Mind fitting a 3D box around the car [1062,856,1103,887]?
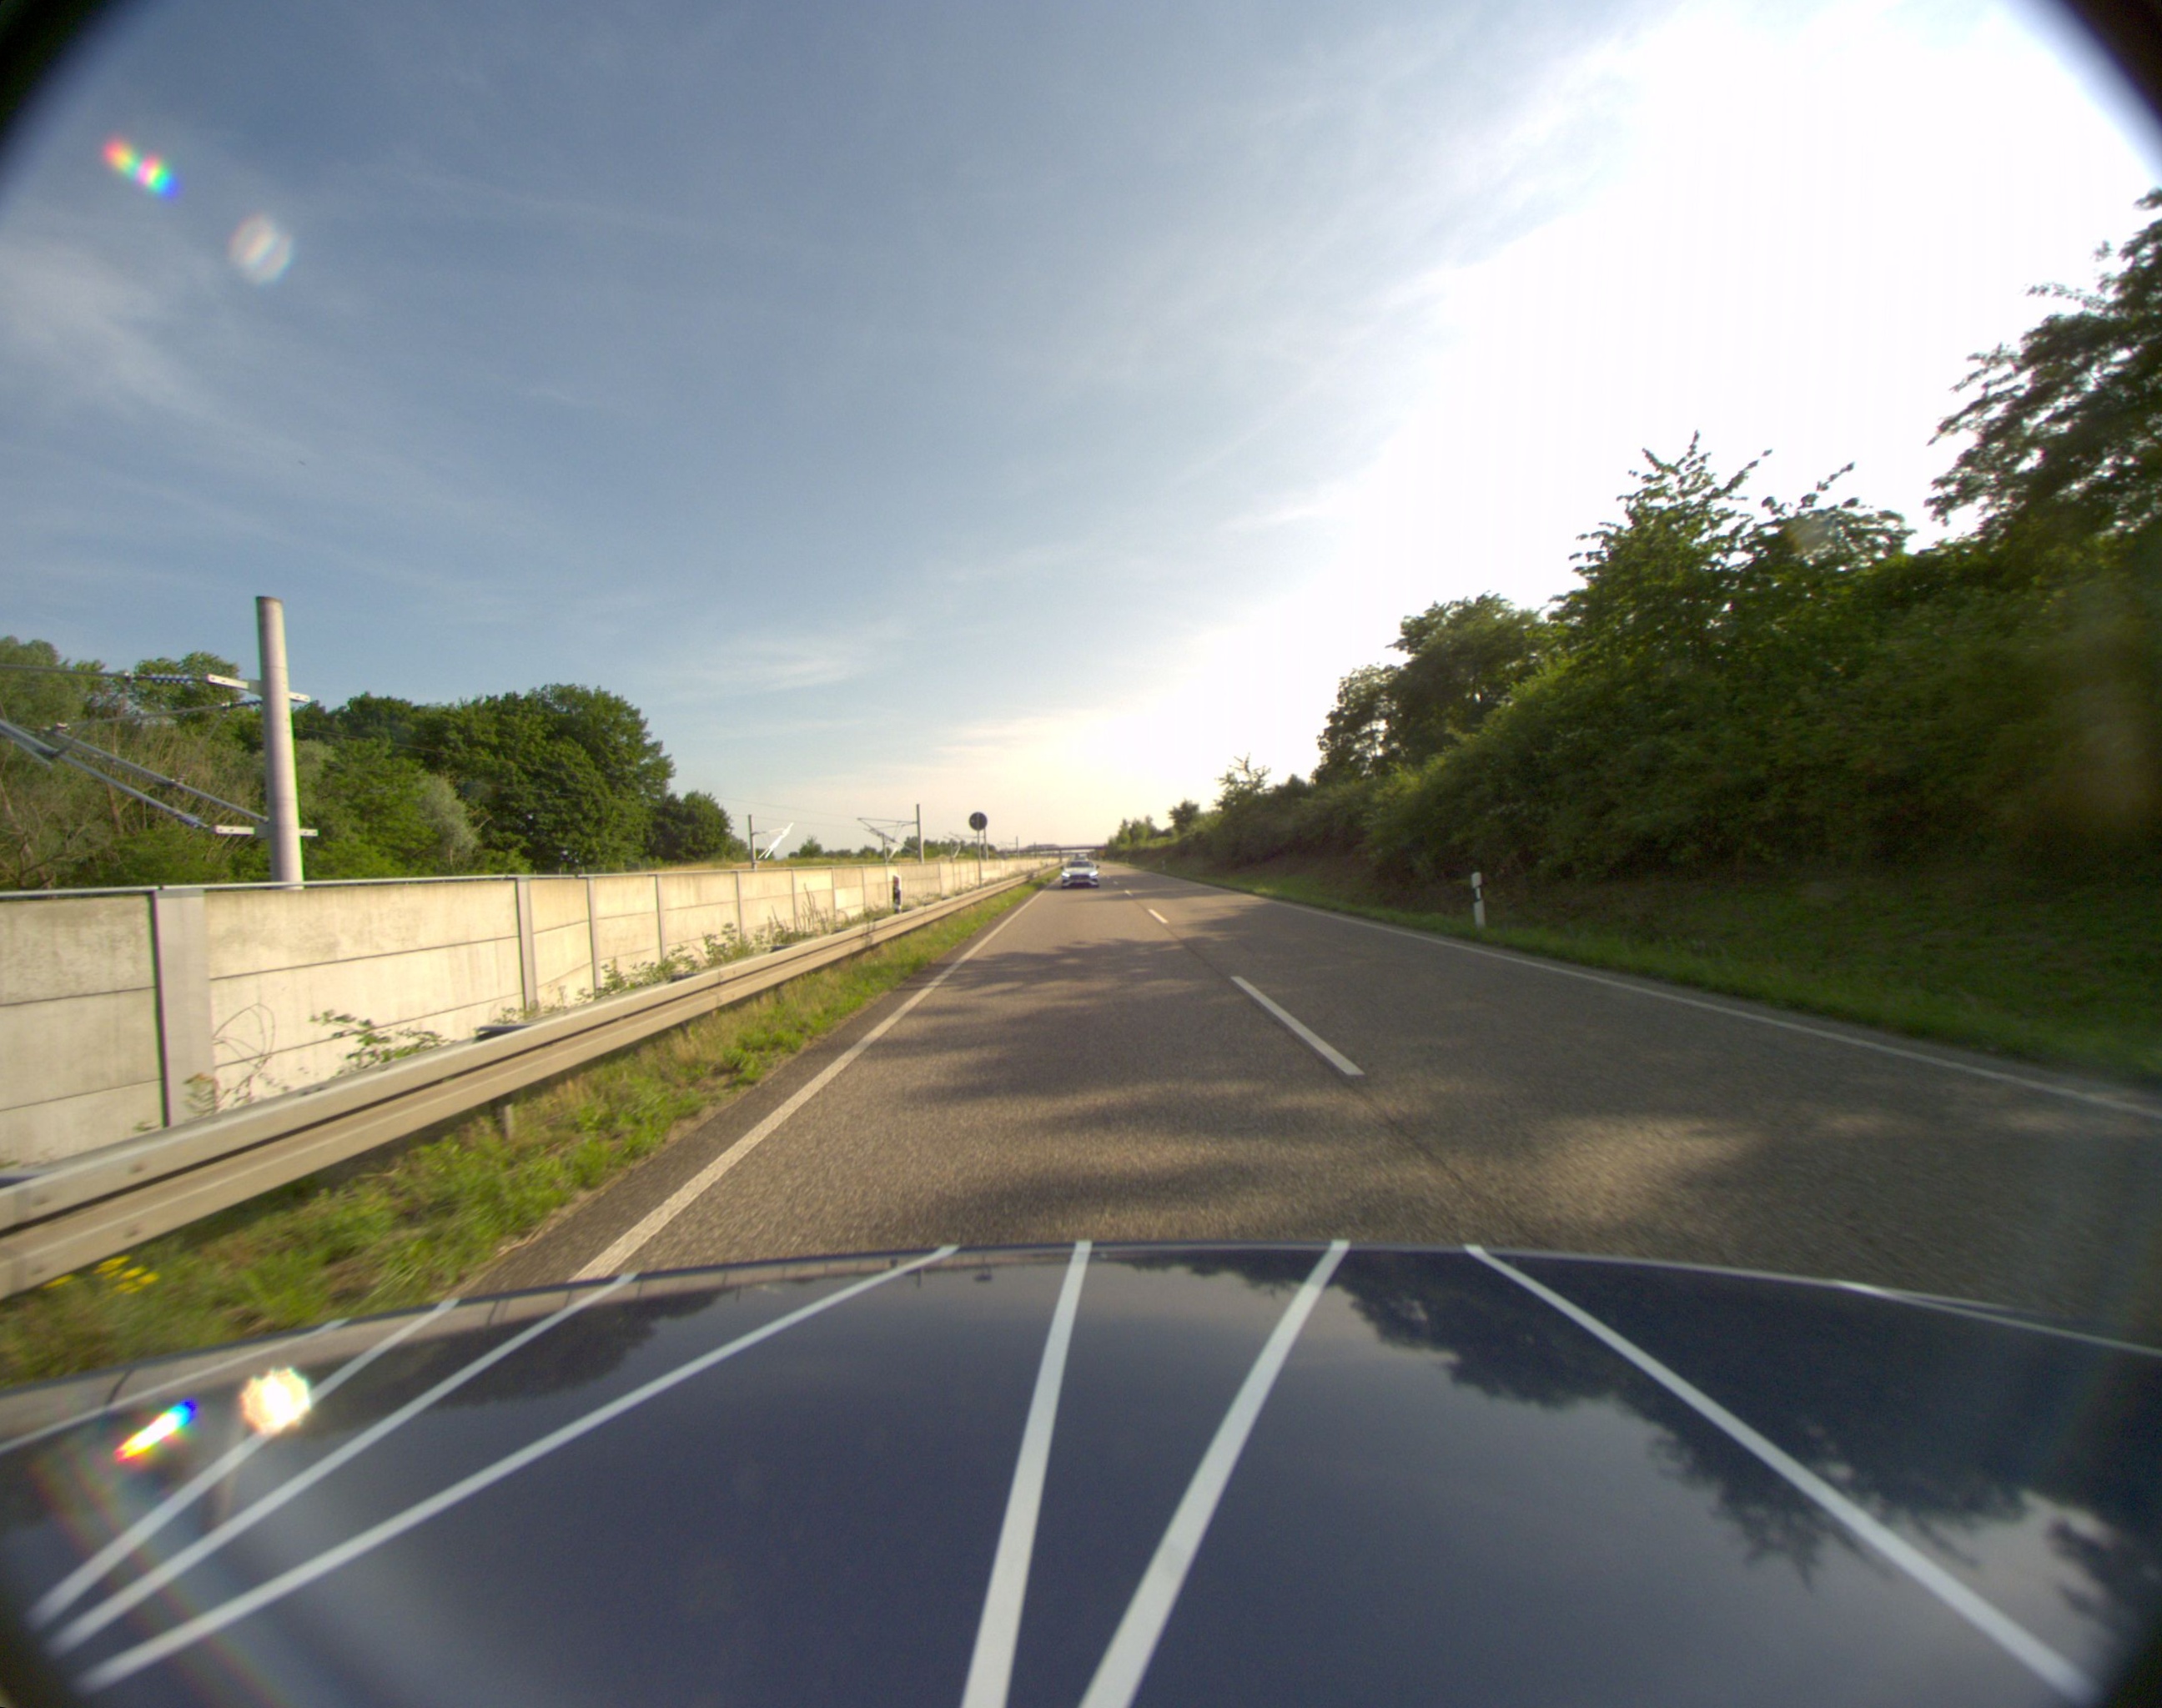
[{"bbox_3d":[0.096,0.839,39.172,1.953,1.430,4.611,-2,0,0],"label":"car"}]
